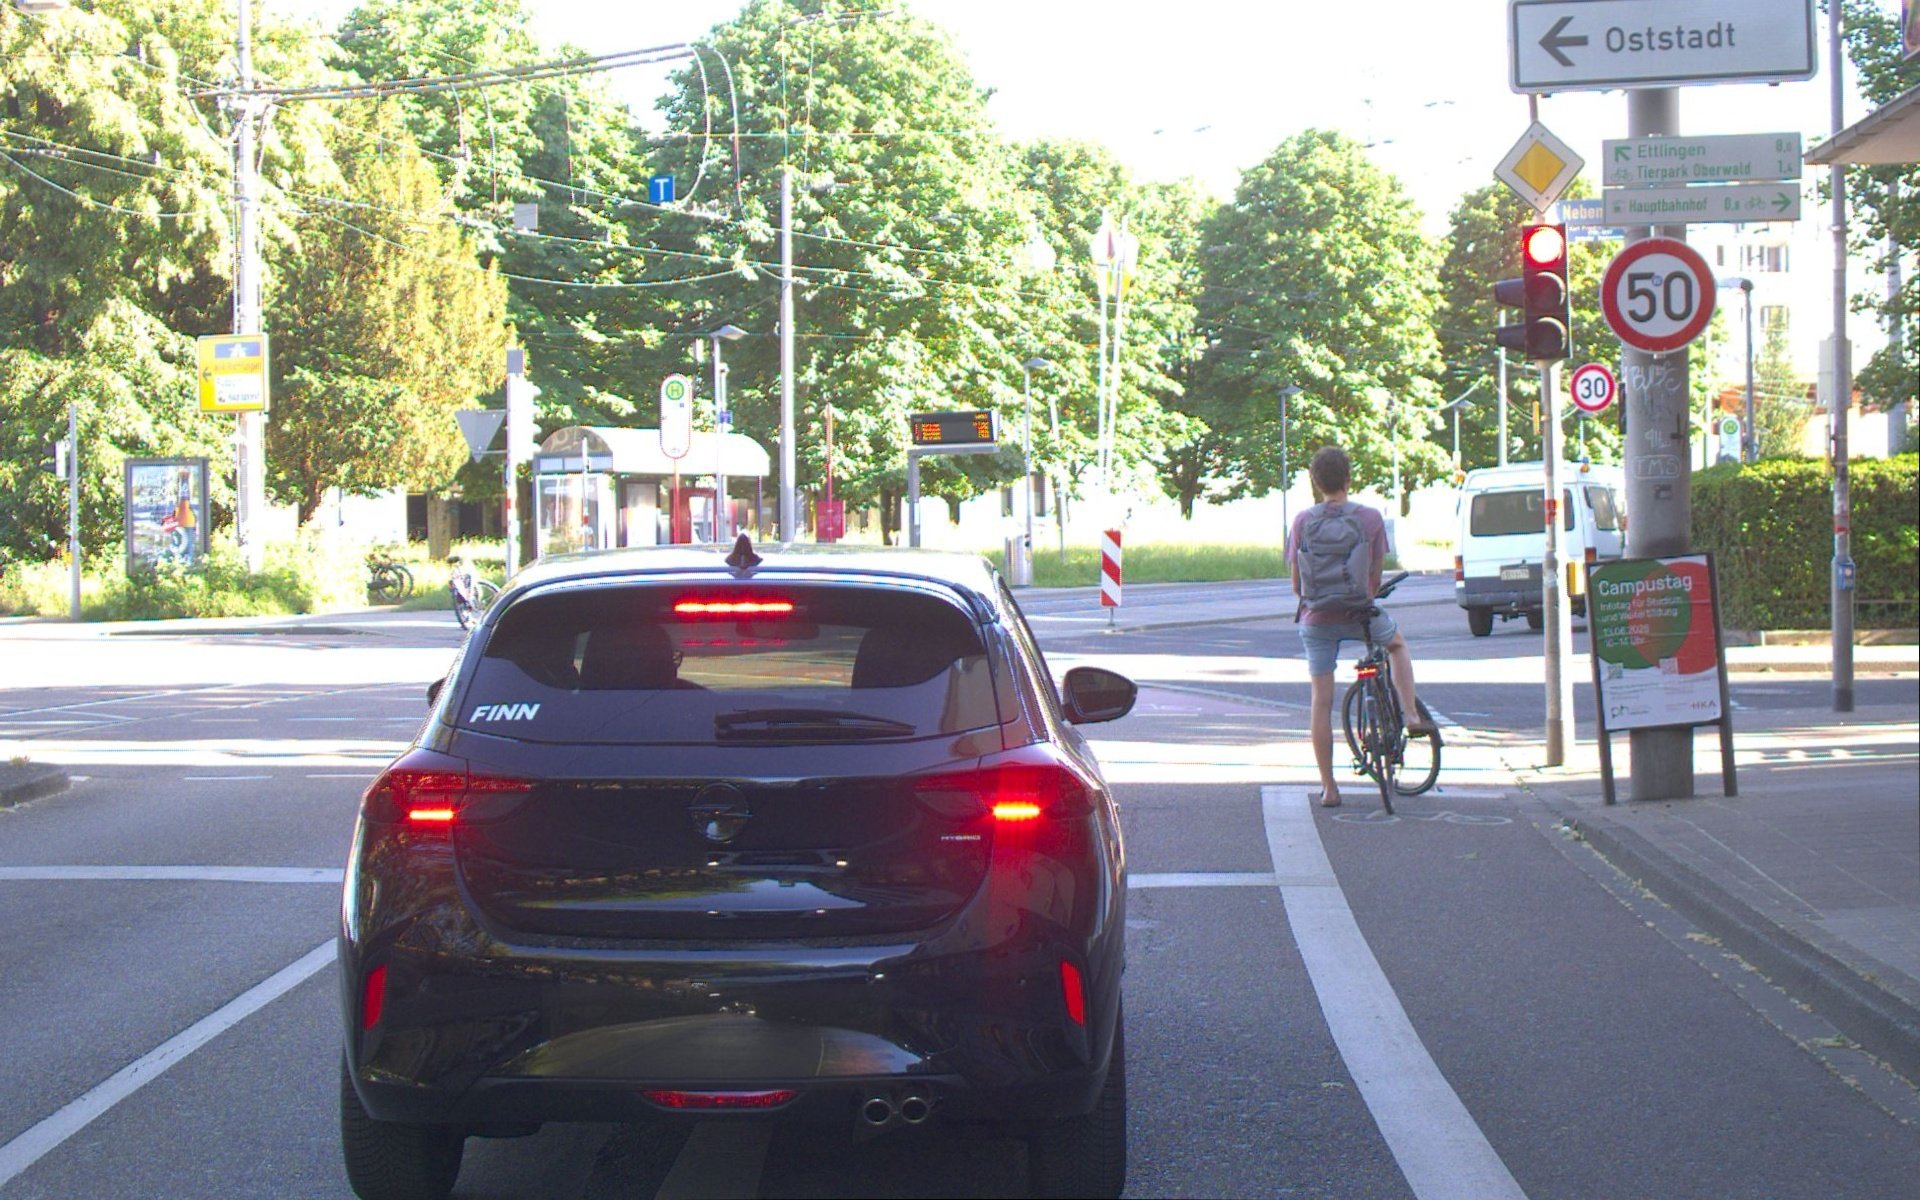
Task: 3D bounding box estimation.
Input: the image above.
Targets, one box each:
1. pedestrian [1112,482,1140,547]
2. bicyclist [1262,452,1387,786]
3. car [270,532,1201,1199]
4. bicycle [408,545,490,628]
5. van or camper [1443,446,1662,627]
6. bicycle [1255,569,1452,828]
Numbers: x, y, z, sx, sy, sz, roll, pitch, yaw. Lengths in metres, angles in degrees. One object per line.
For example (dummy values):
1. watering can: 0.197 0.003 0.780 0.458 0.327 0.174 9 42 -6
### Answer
1. pedestrian: 4.839 -2.484 100.104 0.604 1.865 0.519 0 0 -40
2. bicyclist: 1.879 0.089 17.682 0.534 1.686 0.567 0 1 17
3. car: -0.467 0.565 8.803 1.840 1.457 3.984 0 1 -1
4. bicycle: -6.868 -0.193 46.283 0.796 1.061 2.185 0 1 -1
5. van or camper: 8.029 -0.835 46.253 2.031 2.302 4.535 1 1 21
6. bicycle: 2.072 0.472 17.879 0.753 1.231 2.014 0 1 14
